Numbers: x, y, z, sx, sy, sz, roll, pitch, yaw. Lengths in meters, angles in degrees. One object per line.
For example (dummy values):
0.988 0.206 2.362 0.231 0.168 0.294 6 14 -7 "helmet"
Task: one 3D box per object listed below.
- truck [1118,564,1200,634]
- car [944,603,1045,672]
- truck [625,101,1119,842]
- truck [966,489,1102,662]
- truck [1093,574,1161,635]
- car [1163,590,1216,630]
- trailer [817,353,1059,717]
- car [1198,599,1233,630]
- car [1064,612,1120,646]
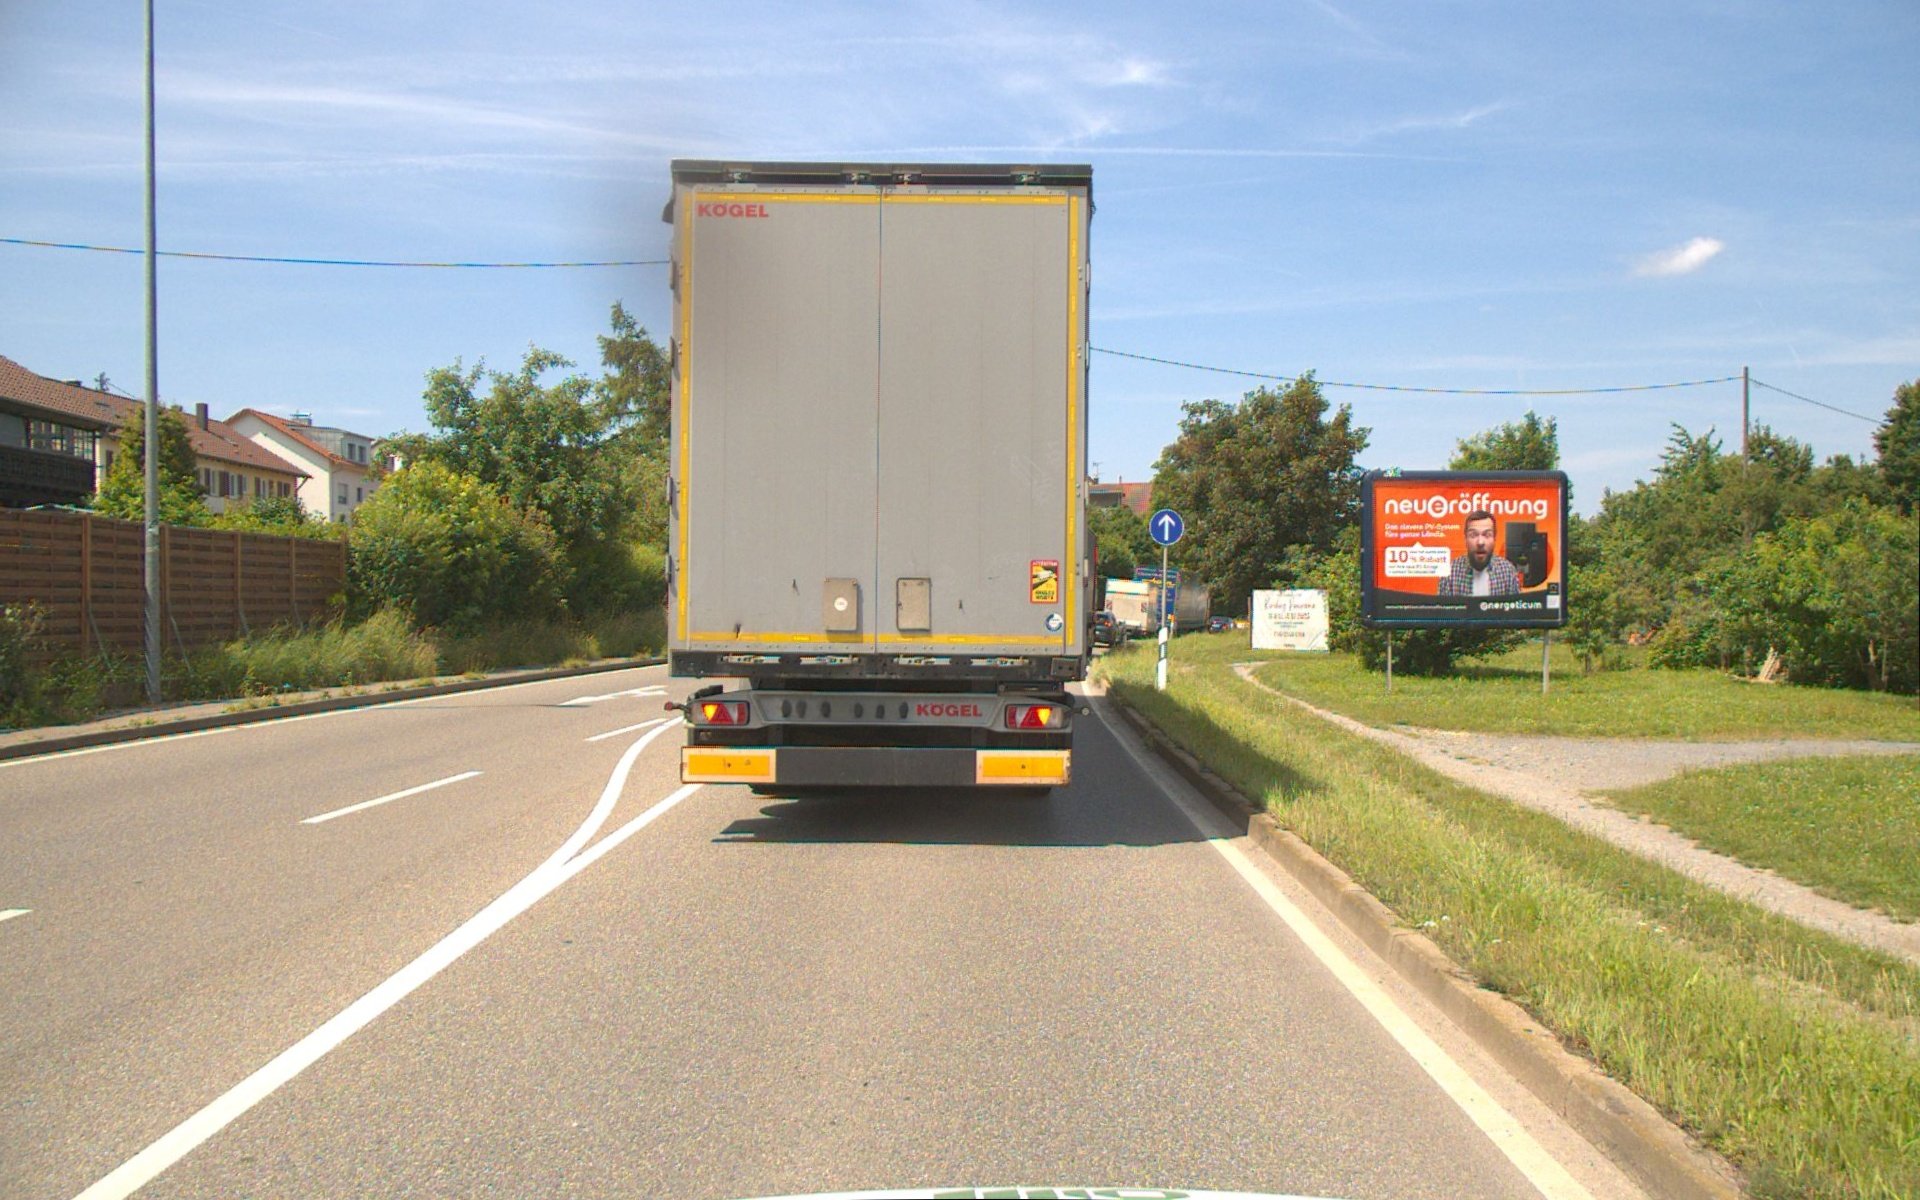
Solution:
11.257 -0.081 92.882 3.360 3.667 9.361 1 1 14 "truck"
0.792 0.783 35.497 1.780 1.370 3.850 1 -1 7 "car"
-0.357 -0.778 15.186 2.763 4.200 11.446 1 0 1 "truck"
2.585 -0.528 50.382 2.701 4.364 16.427 1 -1 7 "truck"
8.277 0.264 81.462 2.489 2.852 6.036 1 -1 13 "truck"
14.316 0.596 102.942 2.478 2.317 6.386 1 0 15 "car"
-0.127 -0.772 22.404 2.766 4.183 6.546 1 0 2 "trailer"
17.545 1.028 113.632 1.951 2.049 4.003 1 -1 15 "car"
5.664 1.229 70.505 1.951 1.400 4.003 1 -1 11 "car"
